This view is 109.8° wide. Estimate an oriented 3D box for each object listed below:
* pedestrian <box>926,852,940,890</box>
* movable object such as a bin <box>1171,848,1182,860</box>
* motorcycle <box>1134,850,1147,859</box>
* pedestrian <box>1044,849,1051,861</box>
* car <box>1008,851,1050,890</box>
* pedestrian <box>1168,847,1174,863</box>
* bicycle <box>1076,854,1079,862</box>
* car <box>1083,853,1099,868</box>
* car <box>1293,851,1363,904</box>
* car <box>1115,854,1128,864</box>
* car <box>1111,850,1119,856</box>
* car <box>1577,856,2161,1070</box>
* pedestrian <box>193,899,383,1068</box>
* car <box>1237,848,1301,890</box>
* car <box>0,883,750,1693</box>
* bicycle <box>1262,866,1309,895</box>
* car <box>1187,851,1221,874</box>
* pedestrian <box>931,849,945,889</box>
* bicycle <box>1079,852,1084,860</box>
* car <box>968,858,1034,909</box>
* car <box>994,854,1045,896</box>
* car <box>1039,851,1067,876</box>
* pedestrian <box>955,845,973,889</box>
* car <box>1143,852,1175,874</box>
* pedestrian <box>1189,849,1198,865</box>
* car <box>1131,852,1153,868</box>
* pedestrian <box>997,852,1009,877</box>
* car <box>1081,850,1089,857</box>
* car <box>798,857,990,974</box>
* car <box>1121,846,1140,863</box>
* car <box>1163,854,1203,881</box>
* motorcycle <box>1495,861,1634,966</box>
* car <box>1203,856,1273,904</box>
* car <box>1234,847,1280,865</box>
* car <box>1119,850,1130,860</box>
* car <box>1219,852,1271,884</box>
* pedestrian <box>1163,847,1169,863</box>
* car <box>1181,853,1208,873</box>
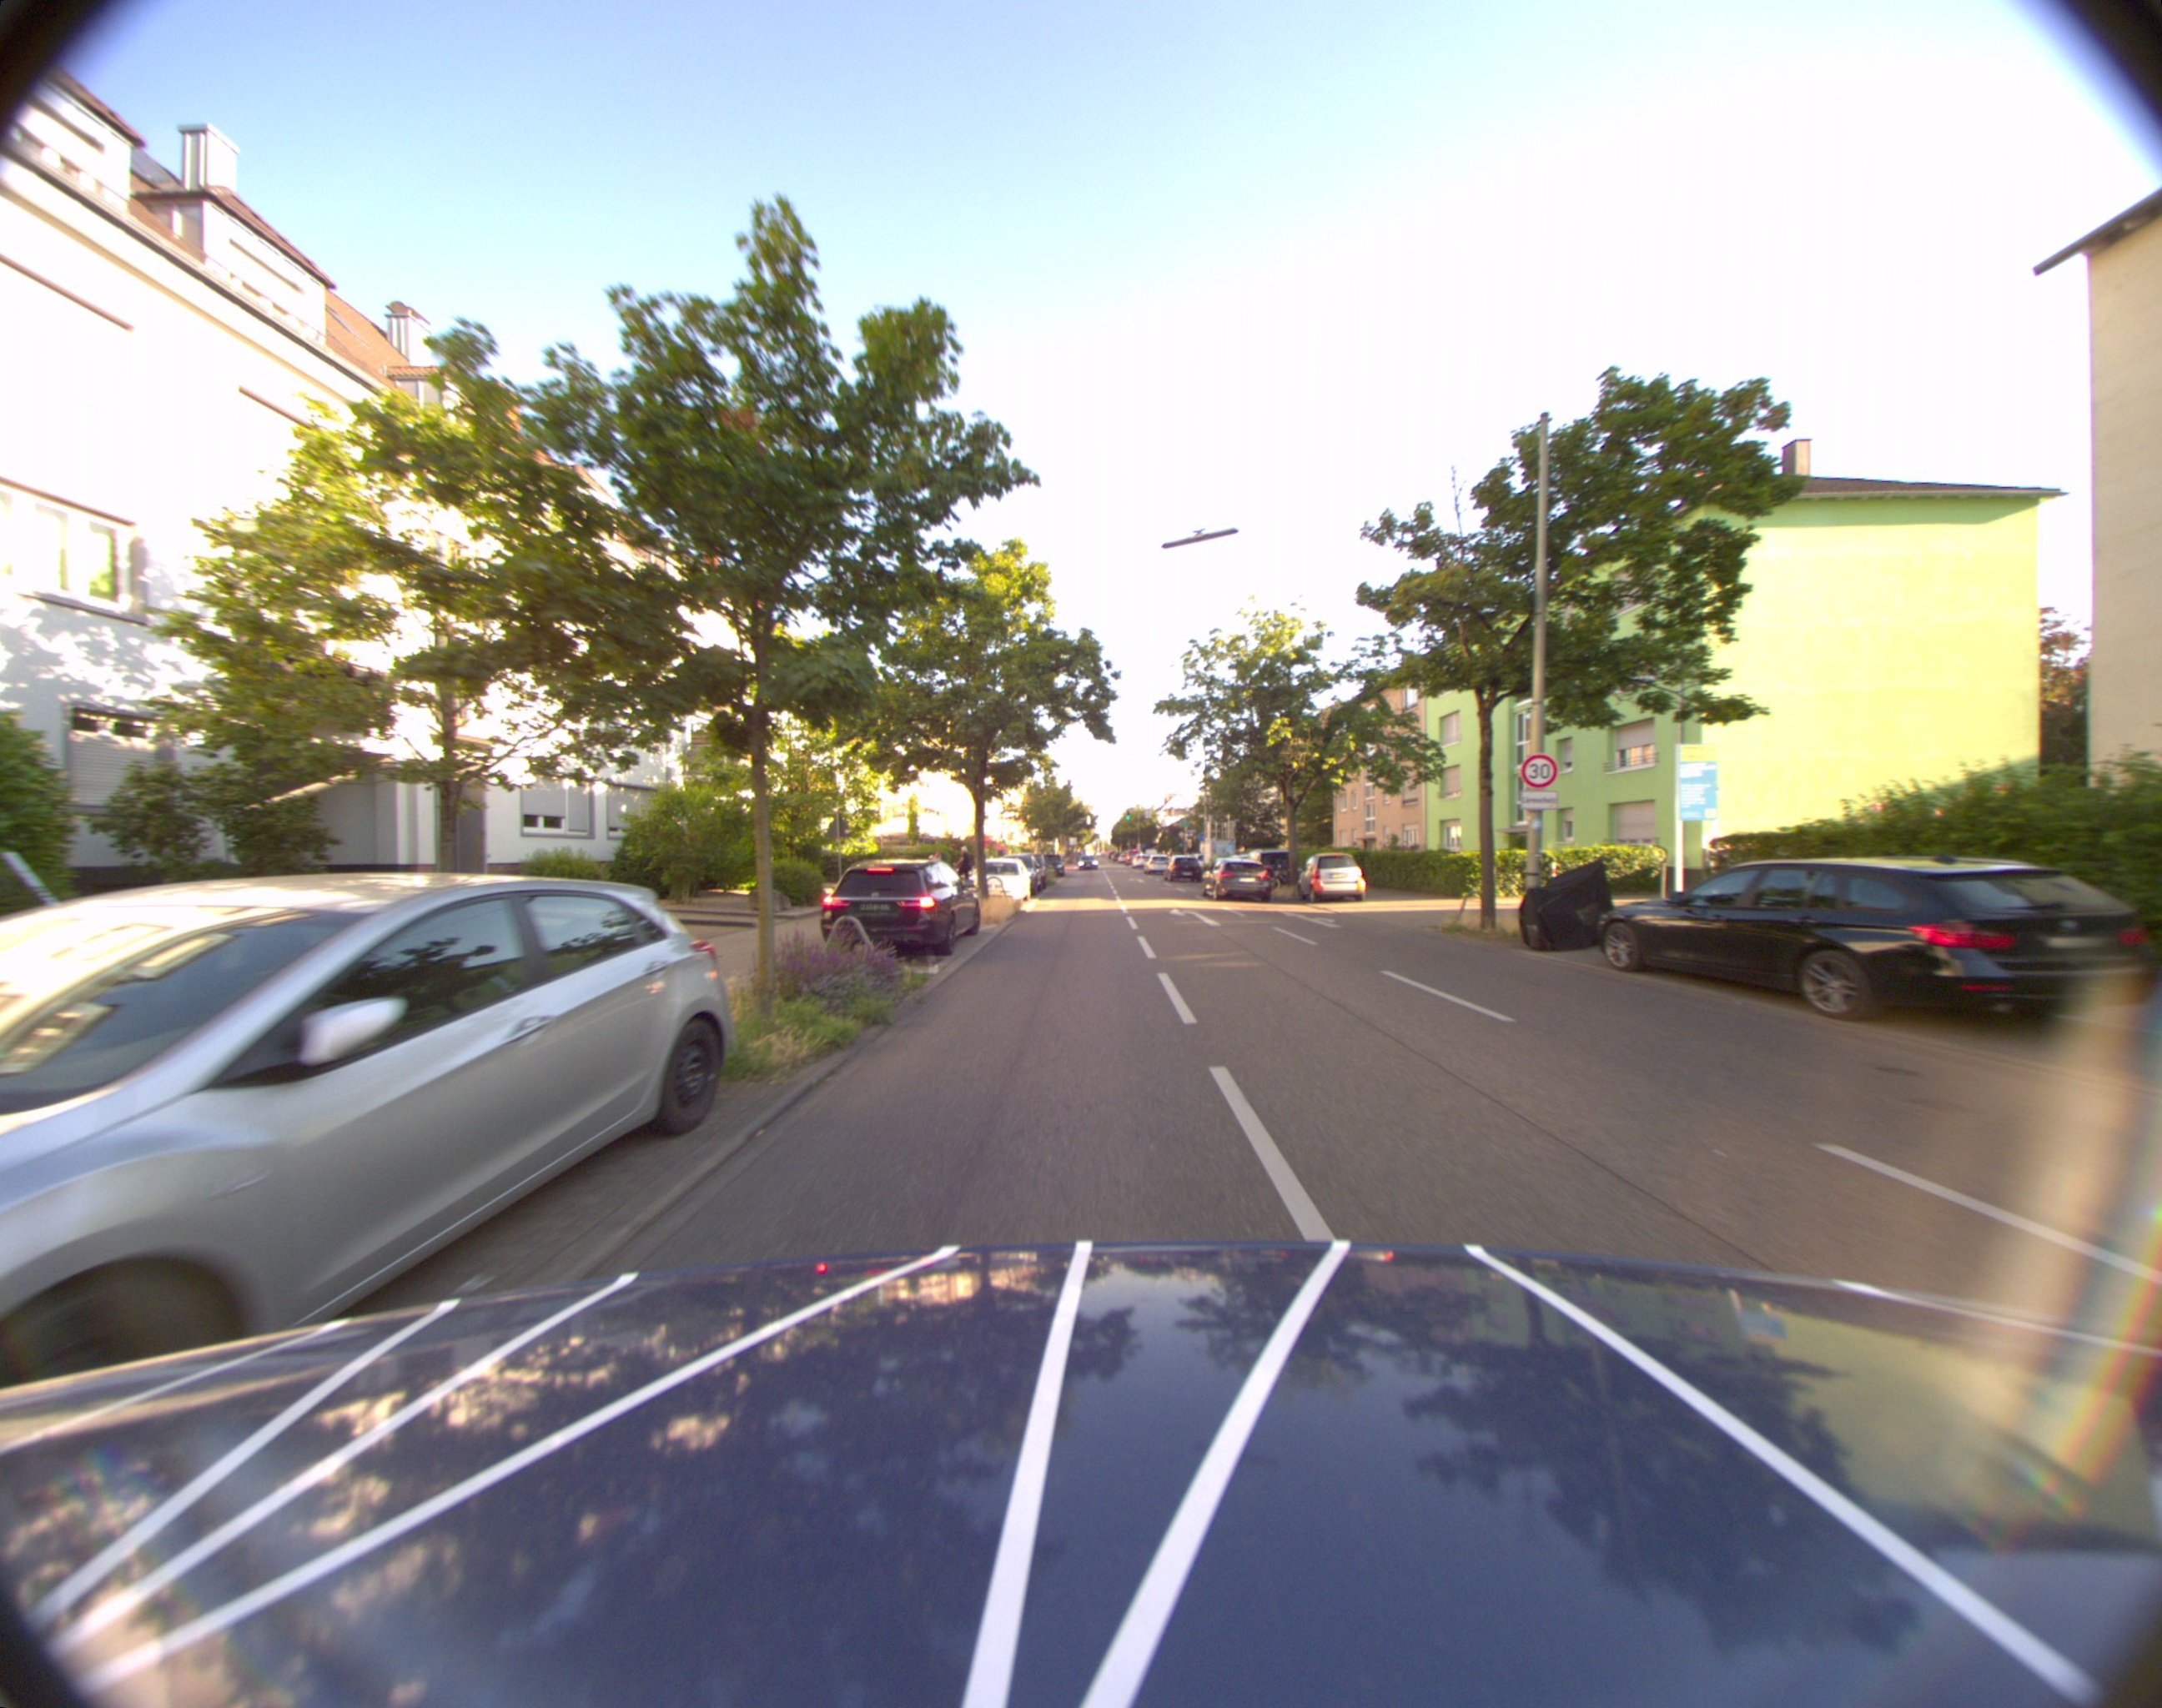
[{"bbox_3d":[-6.531,0.738,33.504,0.512,1.687,0.527,-1,1,-4],"label":"pedestrian"},{"bbox_3d":[13.709,-0.050,109.533,1.309,1.649,1.180,-4,2,1],"label":"movable object such as a bin"},{"bbox_3d":[9.740,0.081,125.195,1.263,1.526,2.887,-1,1,-13],"label":"motorcycle"},{"bbox_3d":[-4.609,0.177,105.202,0.830,1.673,0.660,0,1,5],"label":"pedestrian"},{"bbox_3d":[-2.351,0.721,35.392,1.726,1.646,4.596,-1,0,-2],"label":"car"},{"bbox_3d":[11.077,0.092,93.688,0.645,2.002,0.814,-2,2,2],"label":"pedestrian"},{"bbox_3d":[-0.509,0.535,111.813,0.325,1.138,1.800,-1,1,-4],"label":"bicycle"},{"bbox_3d":[0.999,0.670,77.258,1.641,1.482,4.415,0,0,1],"label":"car"},{"bbox_3d":[8.015,0.729,24.829,1.502,1.607,2.862,-1,0,4],"label":"car"},{"bbox_3d":[6.245,0.749,117.433,1.841,1.465,4.671,1,0,1],"label":"car"},{"bbox_3d":[7.284,-0.149,163.108,1.845,1.312,4.441,0,1,2],"label":"car"},{"bbox_3d":[7.482,0.802,7.837,1.783,1.496,4.588,-1,0,1],"label":"car"},{"bbox_3d":[-6.455,1.022,6.235,0.674,1.227,0.790,-1,1,2],"label":"pedestrian"},{"bbox_3d":[8.204,0.618,33.577,1.788,1.723,4.617,-1,0,2],"label":"car"},{"bbox_3d":[-3.048,0.953,2.792,1.722,1.485,4.393,-1,0,0],"label":"car"},{"bbox_3d":[8.090,1.045,30.116,1.679,1.083,0.560,-2,1,3],"label":"bicycle"},{"bbox_3d":[8.607,0.539,53.403,1.641,1.543,3.785,-1,0,-2],"label":"car"},{"bbox_3d":[-6.124,0.652,32.596,0.512,1.687,0.527,-1,1,-4],"label":"pedestrian"},{"bbox_3d":[0.044,0.270,117.697,0.324,1.138,1.802,-1,1,14],"label":"bicycle"},{"bbox_3d":[-2.523,0.894,24.851,1.641,1.482,4.415,0,0,1],"label":"car"},{"bbox_3d":[-2.393,0.800,30.582,1.640,1.559,4.000,0,0,1],"label":"car"},{"bbox_3d":[-1.911,0.626,53.374,1.796,1.622,4.029,-1,0,0],"label":"car"},{"bbox_3d":[-5.018,0.548,32.637,0.549,1.839,0.765,-1,1,8],"label":"pedestrian"},{"bbox_3d":[5.763,0.630,56.388,1.837,1.462,4.451,2,0,0],"label":"car"},{"bbox_3d":[11.560,0.340,78.008,0.750,1.648,0.608,-1,1,-6],"label":"pedestrian"},{"bbox_3d":[6.197,0.590,77.542,1.820,1.438,4.110,2,0,0],"label":"car"},{"bbox_3d":[-4.881,0.658,47.424,0.558,1.559,0.747,-1,1,-17],"label":"pedestrian"},{"bbox_3d":[1.018,-0.142,178.927,1.744,1.509,3.811,-1,1,3],"label":"car"},{"bbox_3d":[-2.898,0.862,12.974,1.879,1.572,4.821,1,0,2],"label":"car"},{"bbox_3d":[6.040,0.065,92.872,1.998,1.934,4.777,1,0,1],"label":"car"},{"bbox_3d":[5.622,0.723,42.245,1.704,1.395,4.027,1,0,1],"label":"car"},{"bbox_3d":[7.517,0.857,11.787,2.031,1.381,0.988,-3,2,-31],"label":"motorcycle"},{"bbox_3d":[5.304,0.825,26.176,1.704,1.462,4.294,0,0,2],"label":"car"},{"bbox_3d":[18.636,0.178,80.686,4.483,1.837,1.908,-1,1,1],"label":"car"},{"bbox_3d":[7.667,0.164,135.016,1.866,1.819,5.228,1,1,3],"label":"car"},{"bbox_3d":[8.316,0.652,38.856,1.687,1.512,4.190,-1,0,-1],"label":"car"},{"bbox_3d":[10.648,0.102,95.227,0.639,2.002,0.739,-1,1,2],"label":"pedestrian"},{"bbox_3d":[8.656,0.675,58.233,1.657,1.471,3.943,-1,0,2],"label":"car"}]
